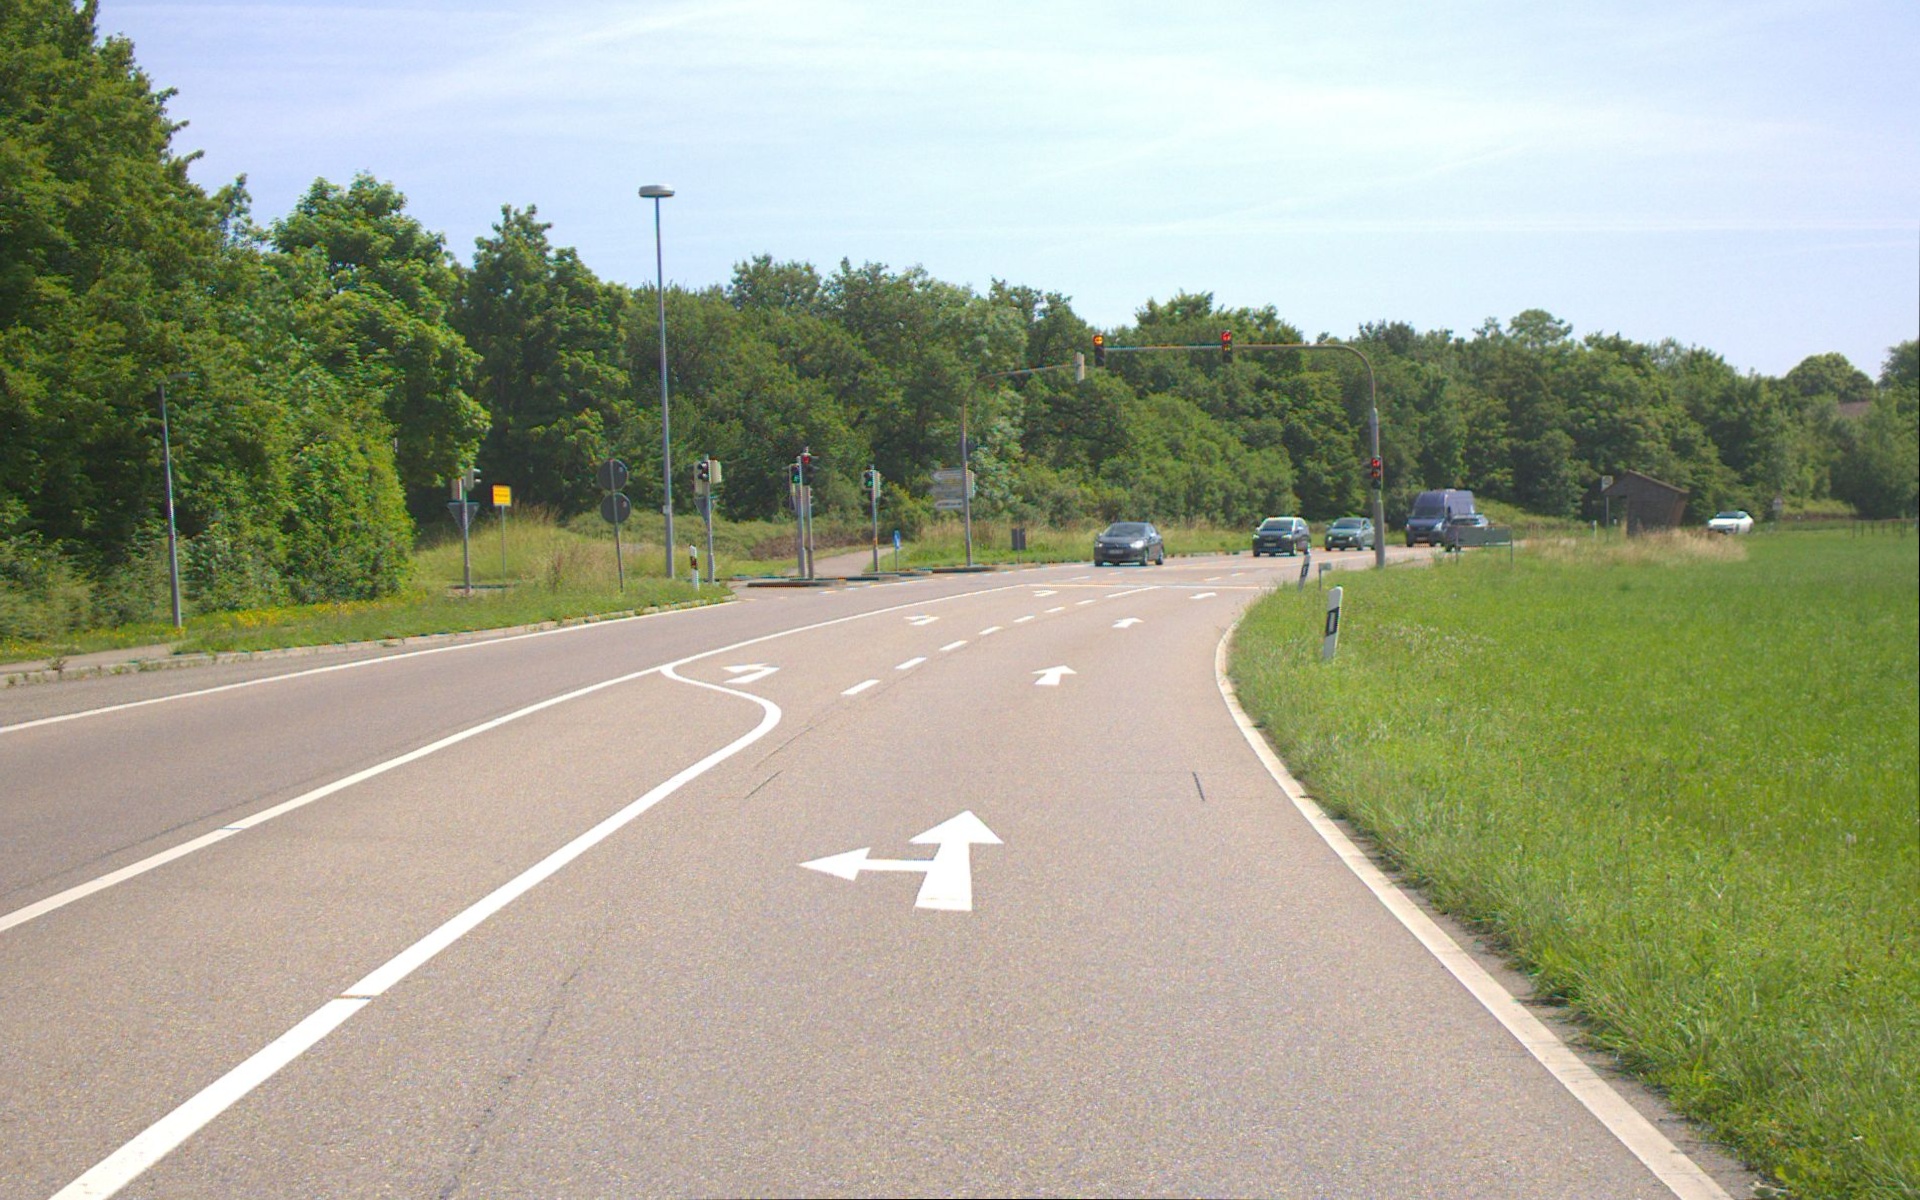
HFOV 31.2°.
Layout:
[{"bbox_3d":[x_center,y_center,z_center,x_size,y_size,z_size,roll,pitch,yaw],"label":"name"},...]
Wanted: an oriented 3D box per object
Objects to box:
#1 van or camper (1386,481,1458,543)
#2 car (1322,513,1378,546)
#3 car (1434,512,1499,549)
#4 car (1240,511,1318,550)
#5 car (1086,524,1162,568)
[{"bbox_3d":[23.172,-4.424,172.263,2.241,2.904,7.241,0,3,18],"label":"van or camper"},{"bbox_3d":[17.686,-3.181,155.728,1.708,1.478,3.828,0,1,20],"label":"car"},{"bbox_3d":[21.875,-2.984,148.438,1.995,1.568,3.996,0,1,20],"label":"car"},{"bbox_3d":[13.011,-2.827,140.114,1.976,1.557,4.184,0,1,23],"label":"car"},{"bbox_3d":[5.592,-1.851,116.612,1.792,1.469,4.308,0,1,13],"label":"car"}]
